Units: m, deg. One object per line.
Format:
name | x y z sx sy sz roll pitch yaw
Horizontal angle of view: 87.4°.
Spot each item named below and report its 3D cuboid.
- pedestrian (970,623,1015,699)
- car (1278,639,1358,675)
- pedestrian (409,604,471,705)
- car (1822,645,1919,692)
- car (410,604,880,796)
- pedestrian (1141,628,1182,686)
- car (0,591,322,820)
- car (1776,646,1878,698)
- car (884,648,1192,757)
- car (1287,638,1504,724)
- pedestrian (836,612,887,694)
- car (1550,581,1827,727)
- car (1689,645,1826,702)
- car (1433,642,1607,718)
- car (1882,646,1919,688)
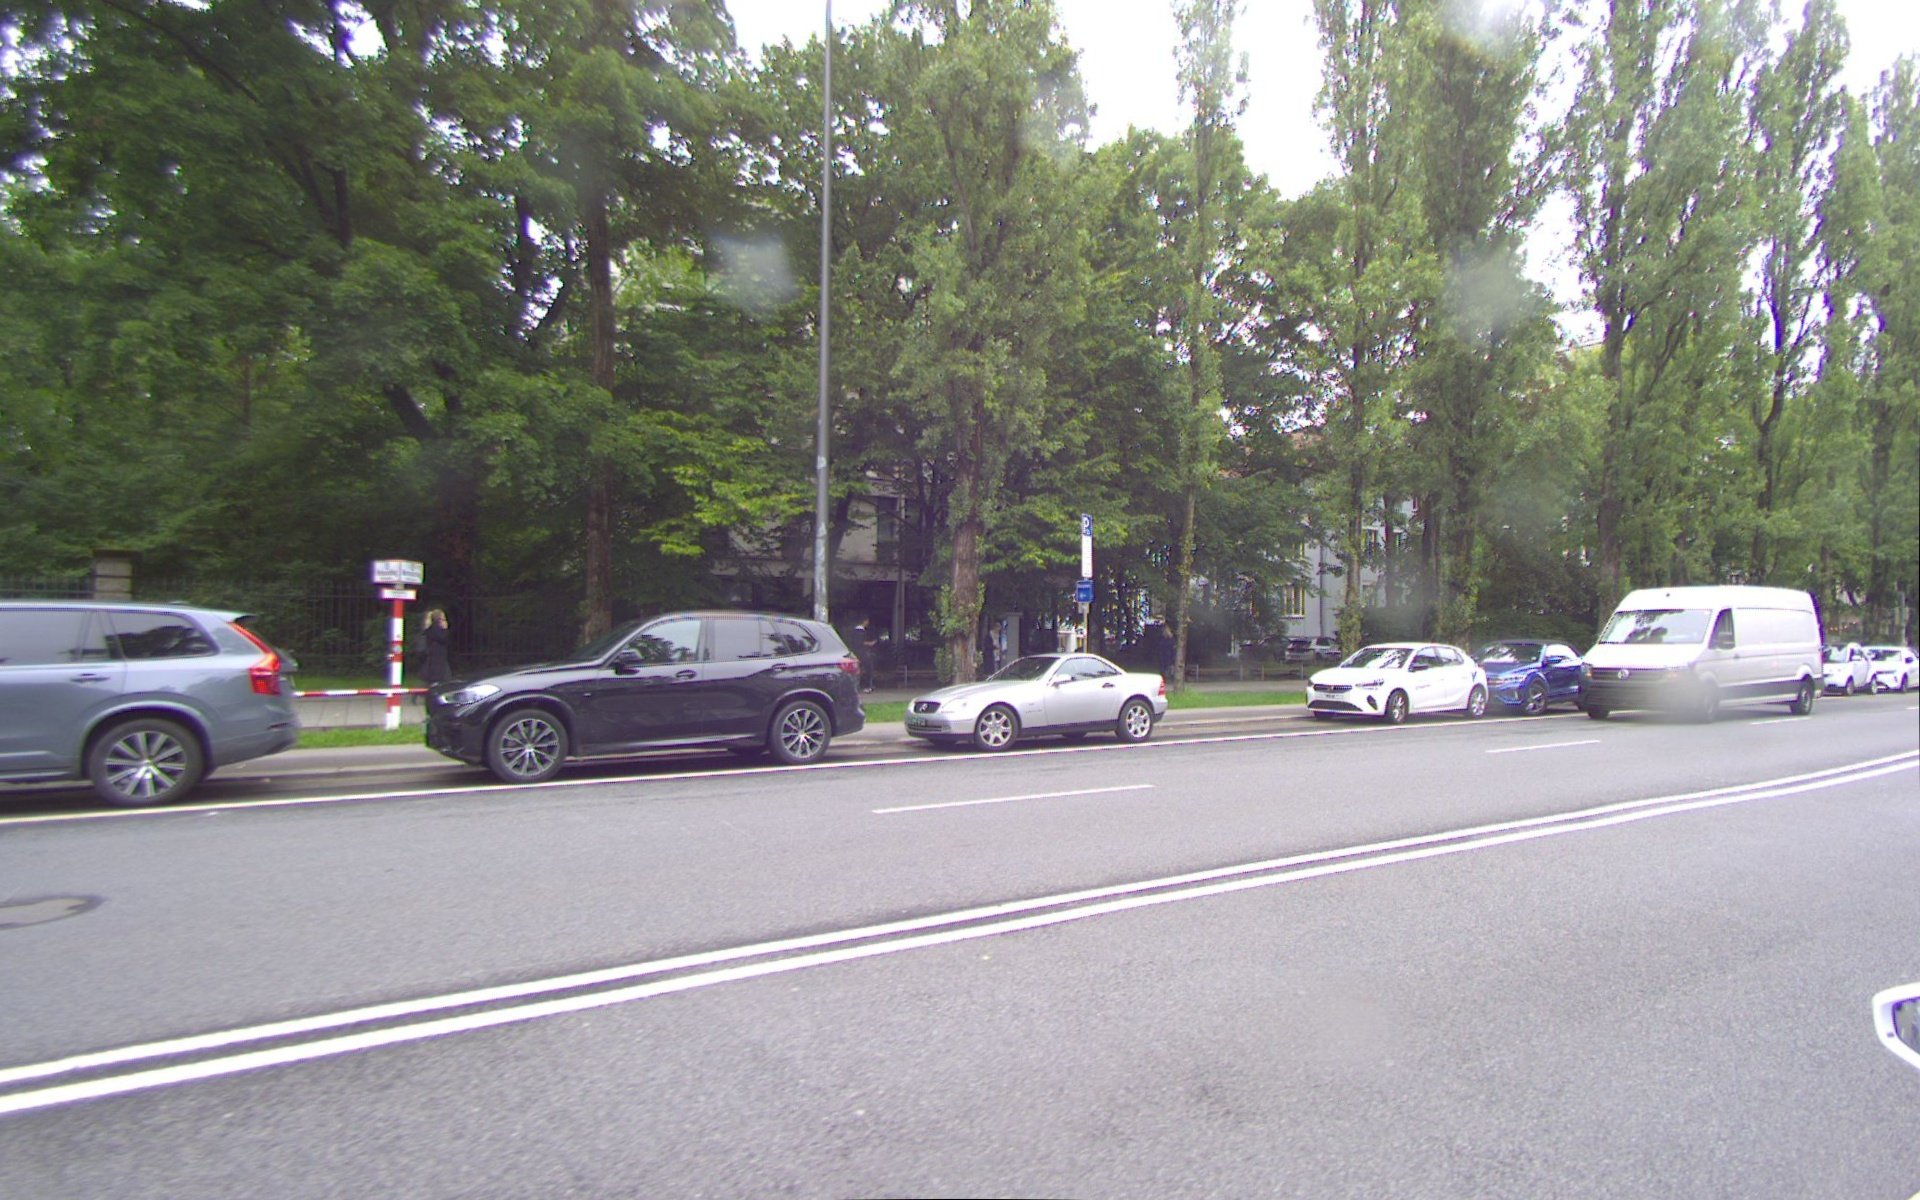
pedestrian | 0.738 1.382 22.834 0.742 1.686 0.734 1 -2 -30
car | 19.176 3.035 53.838 3.953 1.795 1.984 2 -1 -30
pedestrian | -9.457 0.979 18.266 0.946 1.764 0.663 1 -1 -30
car | 29.320 2.172 32.125 4.124 1.407 1.613 2 -4 -35
car | -3.502 1.045 11.547 4.842 1.790 1.930 2 -4 -33
pedestrian | 5.832 1.646 29.060 0.871 1.620 0.733 2 0 -30
car | -8.521 0.886 8.556 5.122 1.812 1.900 2 -4 -32
car | 25.771 2.123 29.855 2.932 1.466 1.420 2 -5 -32
car | 1.170 1.393 14.525 4.186 1.351 1.817 2 -4 -32
car | 8.368 1.500 19.208 4.187 1.471 1.761 2 -4 -33
pedestrian | -2.238 1.193 22.791 0.879 1.812 0.733 2 0 -30
car | 14.720 1.067 20.131 6.686 2.515 2.215 2 -3 -33
car | 21.748 1.975 27.371 3.805 1.444 1.594 1 -4 -30
car | 11.862 1.657 21.253 3.547 1.470 1.700 2 -4 -33
car | 33.949 2.328 35.087 4.123 1.407 1.614 2 -4 -34
